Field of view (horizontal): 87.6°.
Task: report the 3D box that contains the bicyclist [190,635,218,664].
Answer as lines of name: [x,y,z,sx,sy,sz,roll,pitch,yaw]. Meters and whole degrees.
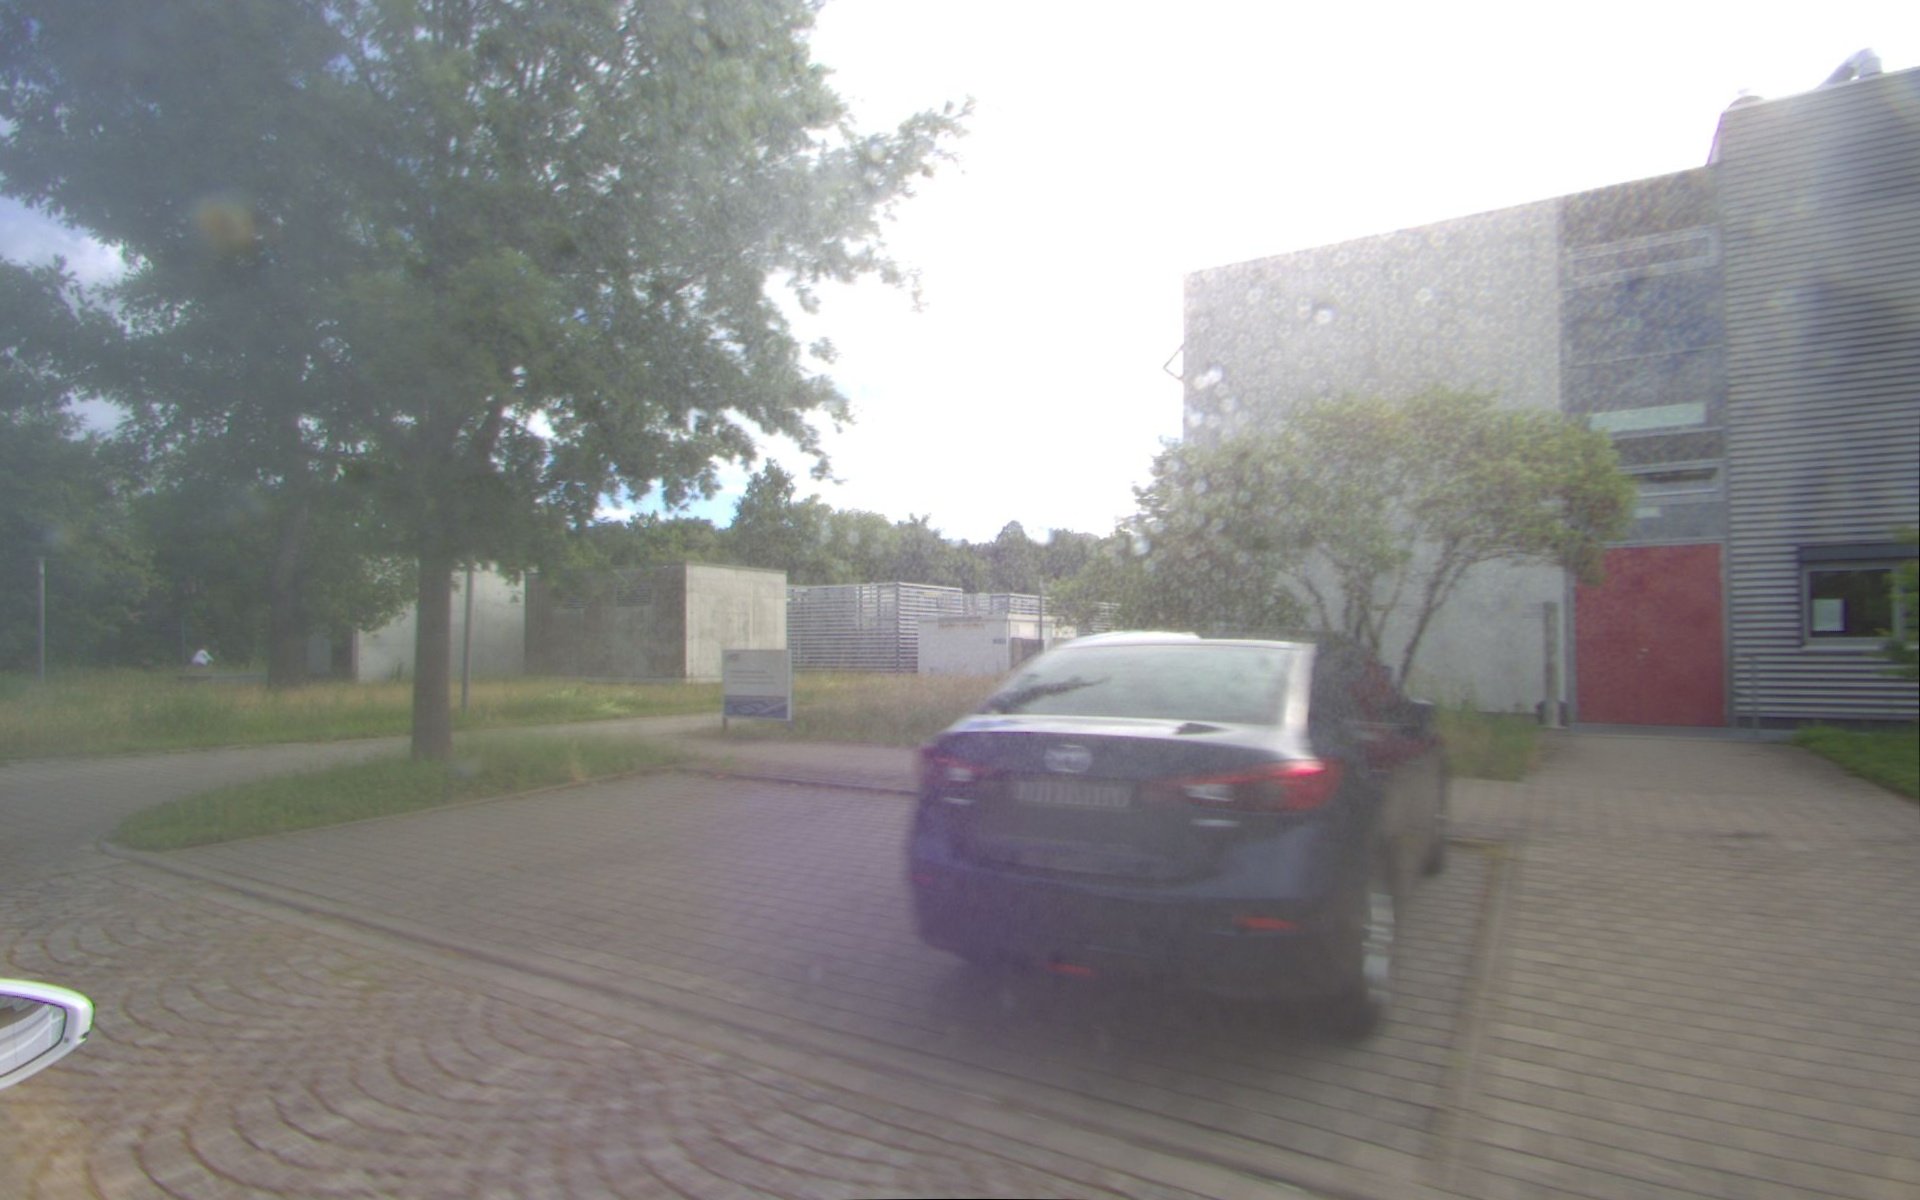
bicyclist: [-31.779,2.071,42.100,0.579,1.222,0.768,-1,-2,31]

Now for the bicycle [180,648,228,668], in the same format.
bicycle: [-31.754,2.435,42.090,0.579,0.801,1.515,-1,-2,31]

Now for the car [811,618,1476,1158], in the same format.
car: [1.409,0.841,5.146,1.916,1.465,4.457,-1,-1,31]
